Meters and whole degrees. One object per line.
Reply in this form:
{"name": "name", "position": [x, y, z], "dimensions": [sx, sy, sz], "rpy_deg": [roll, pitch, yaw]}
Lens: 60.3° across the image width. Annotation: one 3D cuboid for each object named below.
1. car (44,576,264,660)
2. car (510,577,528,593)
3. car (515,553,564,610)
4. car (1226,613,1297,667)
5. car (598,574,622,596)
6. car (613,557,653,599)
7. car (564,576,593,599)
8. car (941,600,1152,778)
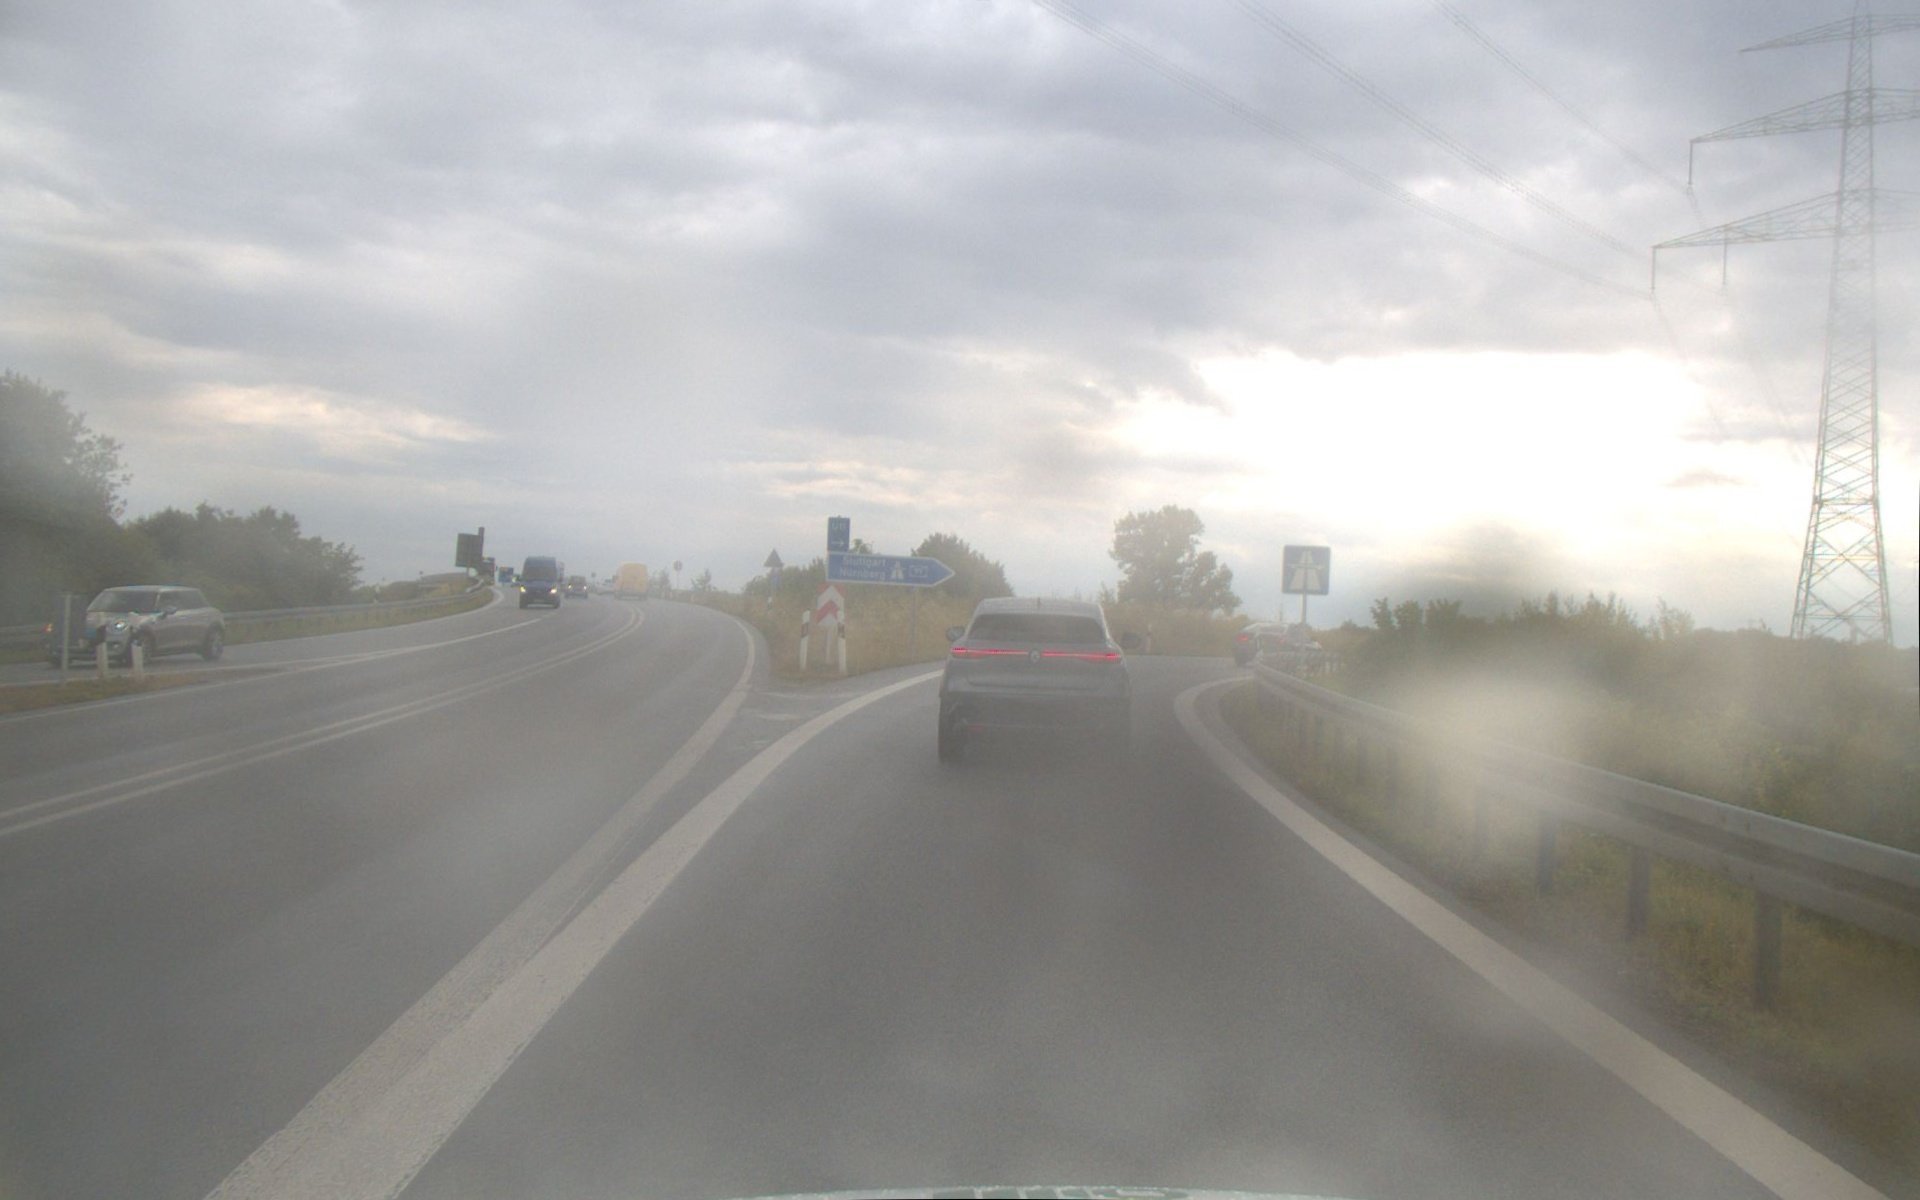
{"name": "car", "position": [-15.070, 0.346, 31.186], "dimensions": [1.707, 1.389, 4.053], "rpy_deg": [-3, -1, 8]}
{"name": "car", "position": [-43.222, -1.439, 162.116], "dimensions": [1.626, 1.472, 3.372], "rpy_deg": [3, 0, -16]}
{"name": "car", "position": [-22.225, -0.957, 87.537], "dimensions": [2.312, 2.748, 6.968], "rpy_deg": [3, 0, -14]}
{"name": "car", "position": [9.753, 1.315, 53.340], "dimensions": [1.754, 1.466, 4.001], "rpy_deg": [4, -2, 17]}
{"name": "car", "position": [-28.485, -1.218, 134.713], "dimensions": [1.761, 1.717, 3.986], "rpy_deg": [1, 0, -14]}
{"name": "car", "position": [-23.198, -1.571, 117.201], "dimensions": [2.528, 2.773, 7.173], "rpy_deg": [2, 0, -13]}
{"name": "car", "position": [-26.027, -0.873, 112.791], "dimensions": [1.715, 1.389, 4.034], "rpy_deg": [2, 1, -15]}
{"name": "car", "position": [0.773, 0.788, 15.963], "dimensions": [1.754, 1.466, 4.000], "rpy_deg": [1, -1, 1]}
